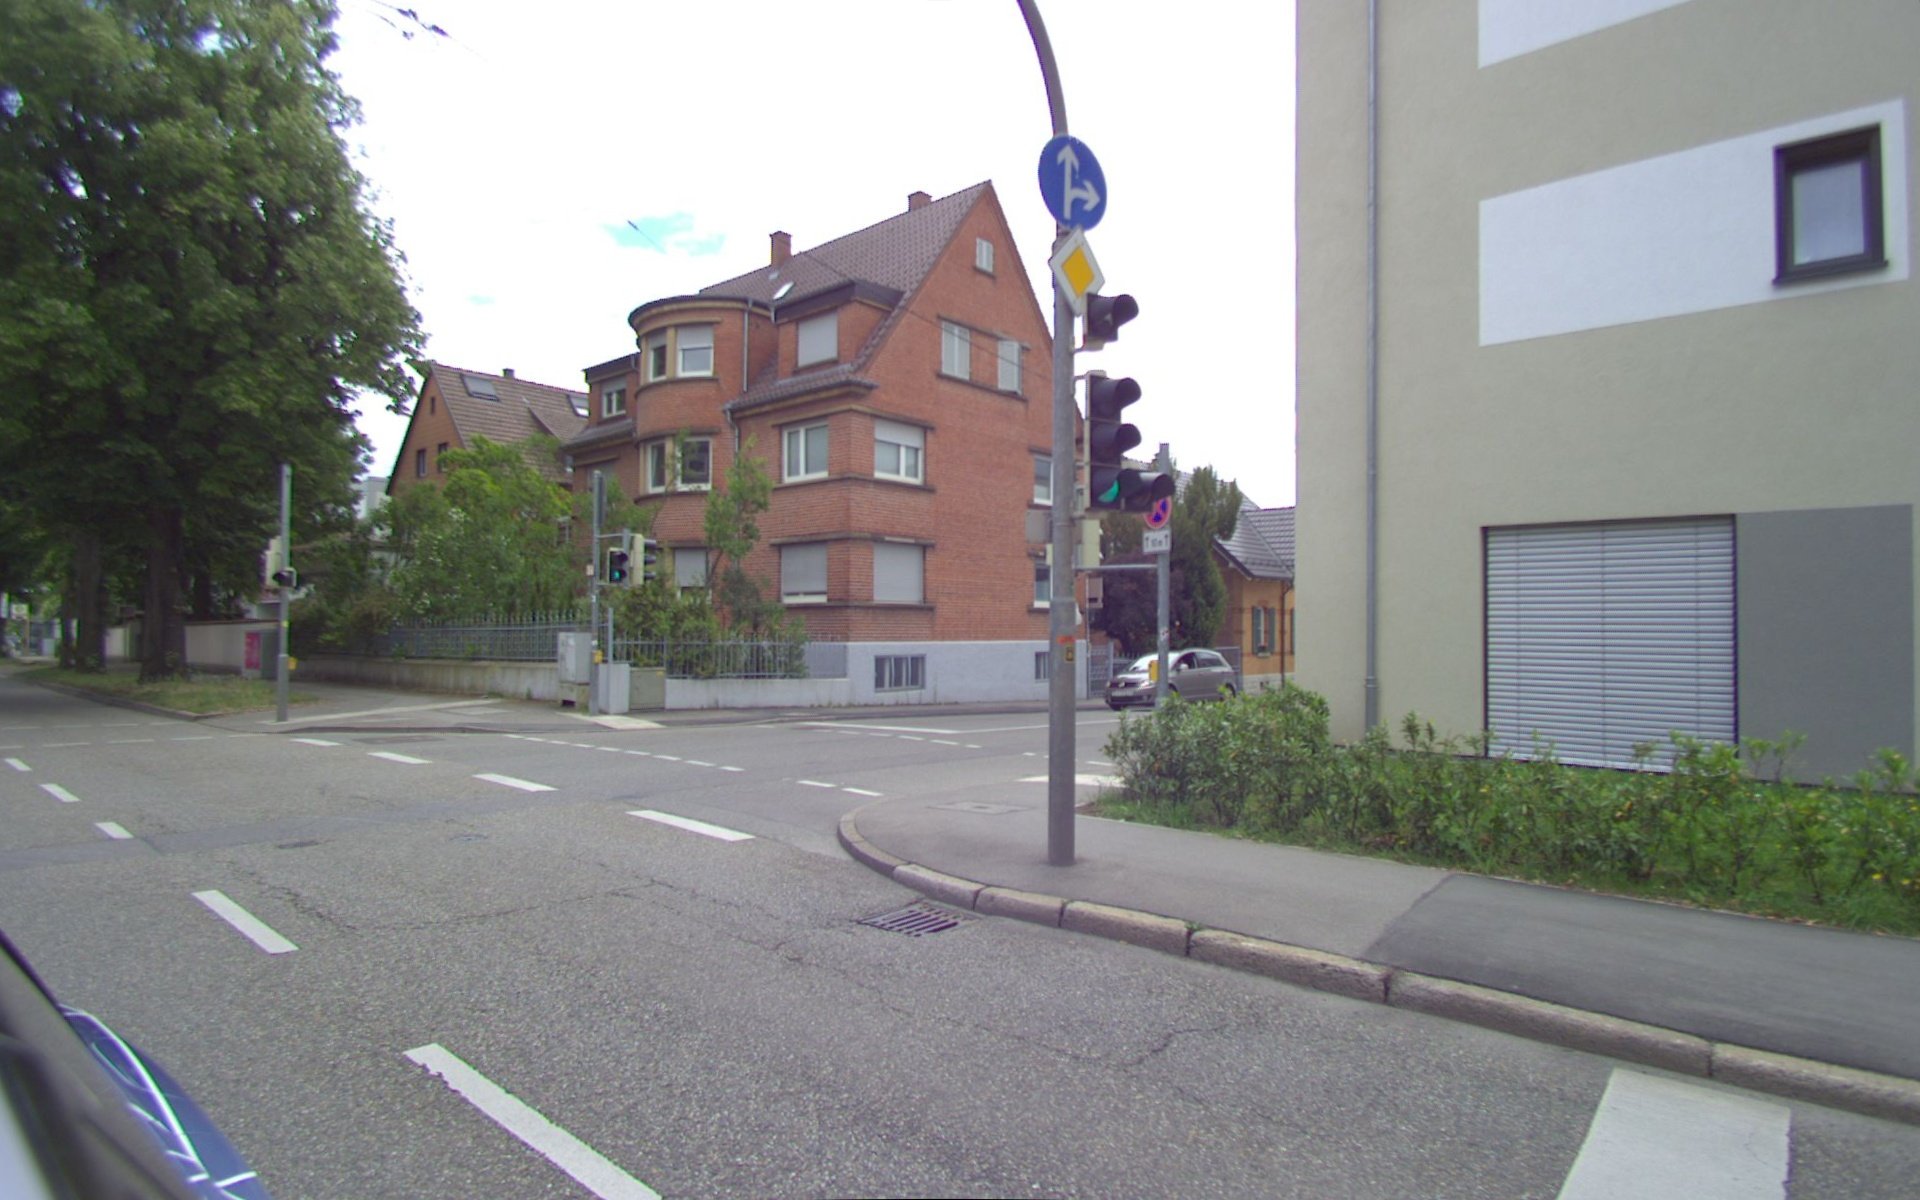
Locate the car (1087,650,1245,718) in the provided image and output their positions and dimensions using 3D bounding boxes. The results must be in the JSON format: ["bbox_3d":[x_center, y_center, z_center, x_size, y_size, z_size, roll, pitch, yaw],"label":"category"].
[{"bbox_3d":[5.314,2.145,25.907,3.937,1.597,1.900,4,-6,-40],"label":"car"}]

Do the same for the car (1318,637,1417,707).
[{"bbox_3d":[16.055,2.796,39.642,2.038,2.529,5.914,-1,-4,38],"label":"car"}]
